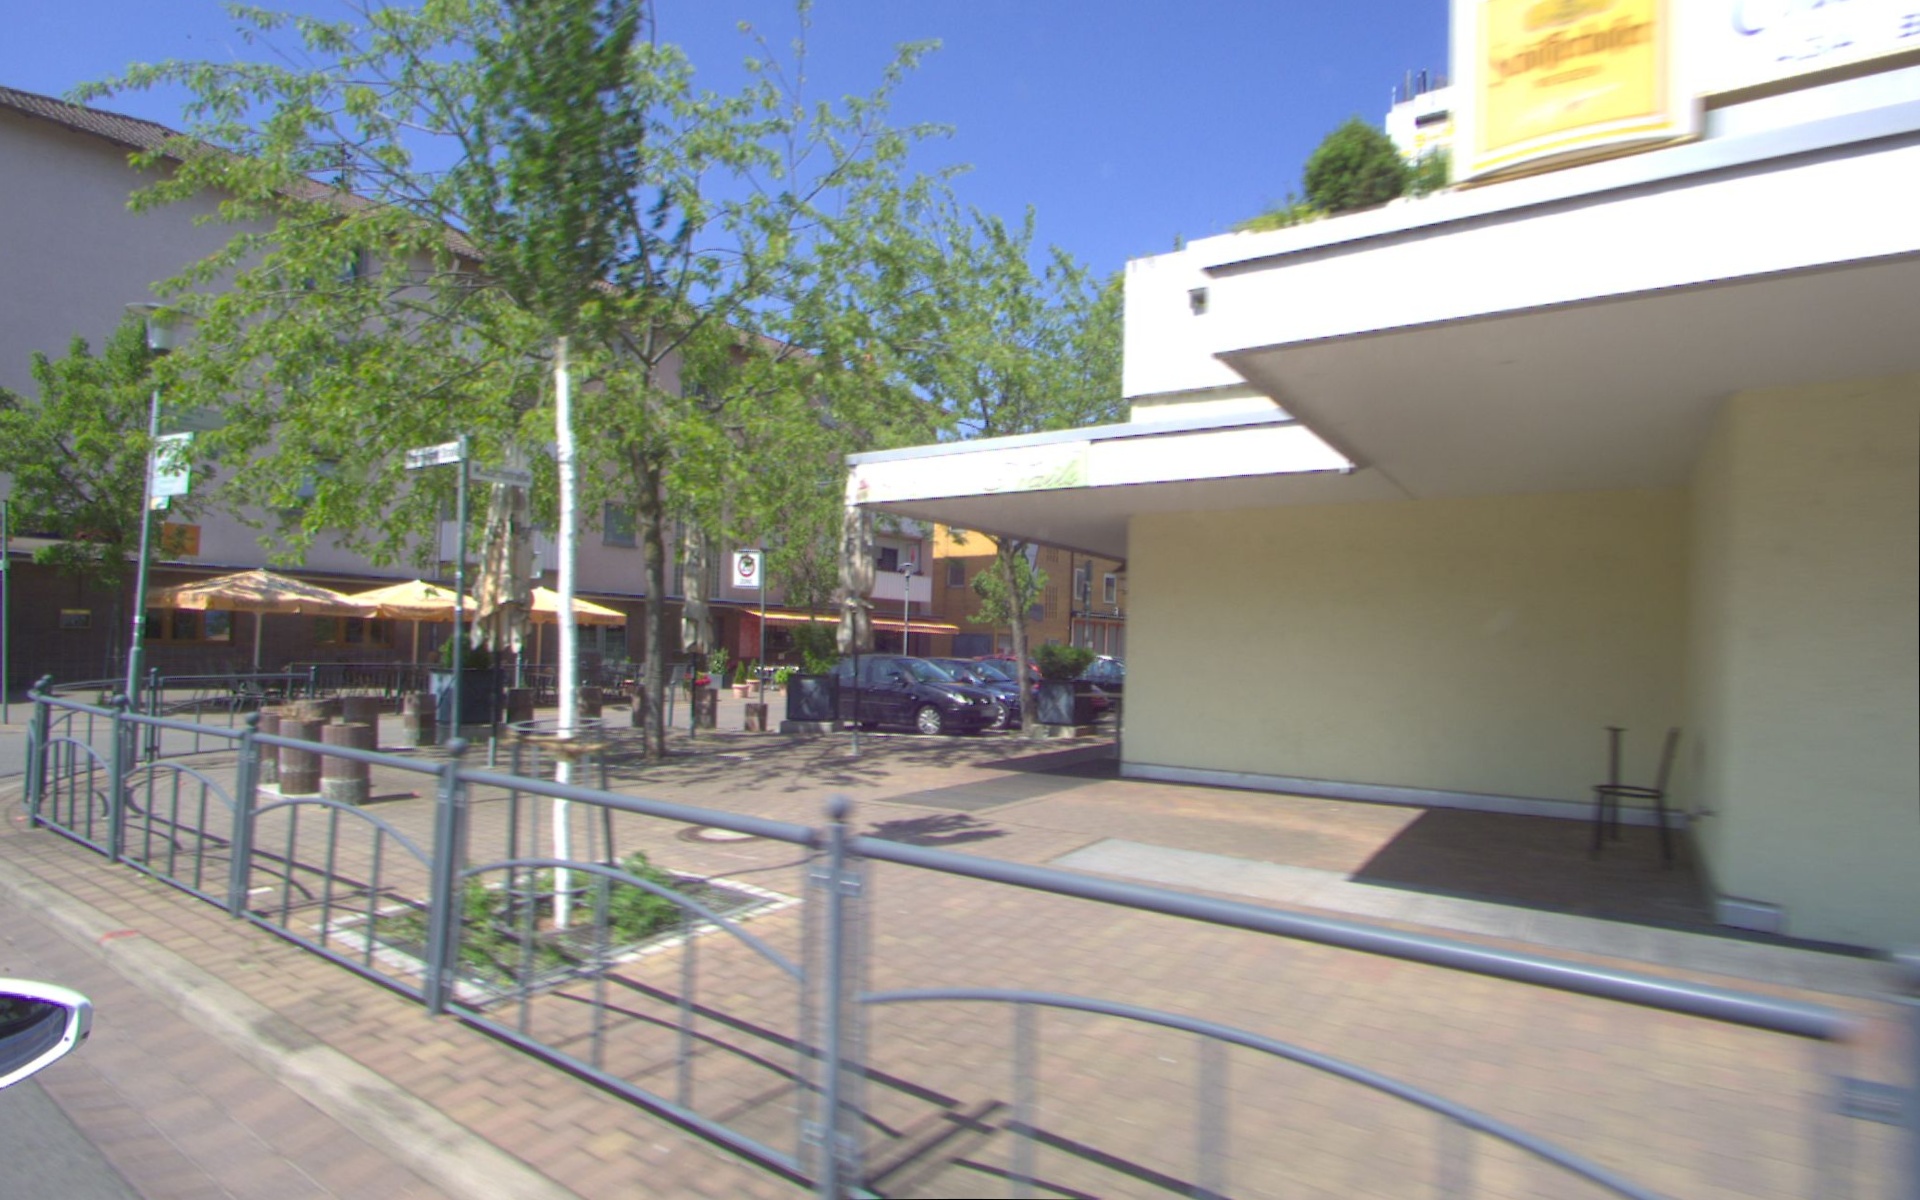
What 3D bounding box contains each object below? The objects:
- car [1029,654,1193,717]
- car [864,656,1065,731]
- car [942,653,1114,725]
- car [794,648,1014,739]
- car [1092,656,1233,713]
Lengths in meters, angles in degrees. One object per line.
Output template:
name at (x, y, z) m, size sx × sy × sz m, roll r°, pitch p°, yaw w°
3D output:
car at (4.235, 2.368, 28.196) m, size 4.132 × 1.560 × 1.939 m, roll 0°, pitch -3°, yaw 30°
car at (0.062, 1.955, 21.665) m, size 4.052 × 1.449 × 1.775 m, roll -1°, pitch -3°, yaw 33°
car at (1.591, 2.050, 23.634) m, size 3.683 × 1.553 × 1.757 m, roll -1°, pitch -3°, yaw 33°
car at (-1.110, 1.736, 19.349) m, size 3.914 × 1.528 × 1.765 m, roll -1°, pitch -3°, yaw 32°
car at (6.532, 2.689, 32.465) m, size 4.110 × 1.594 × 1.749 m, roll 0°, pitch -2°, yaw 35°
